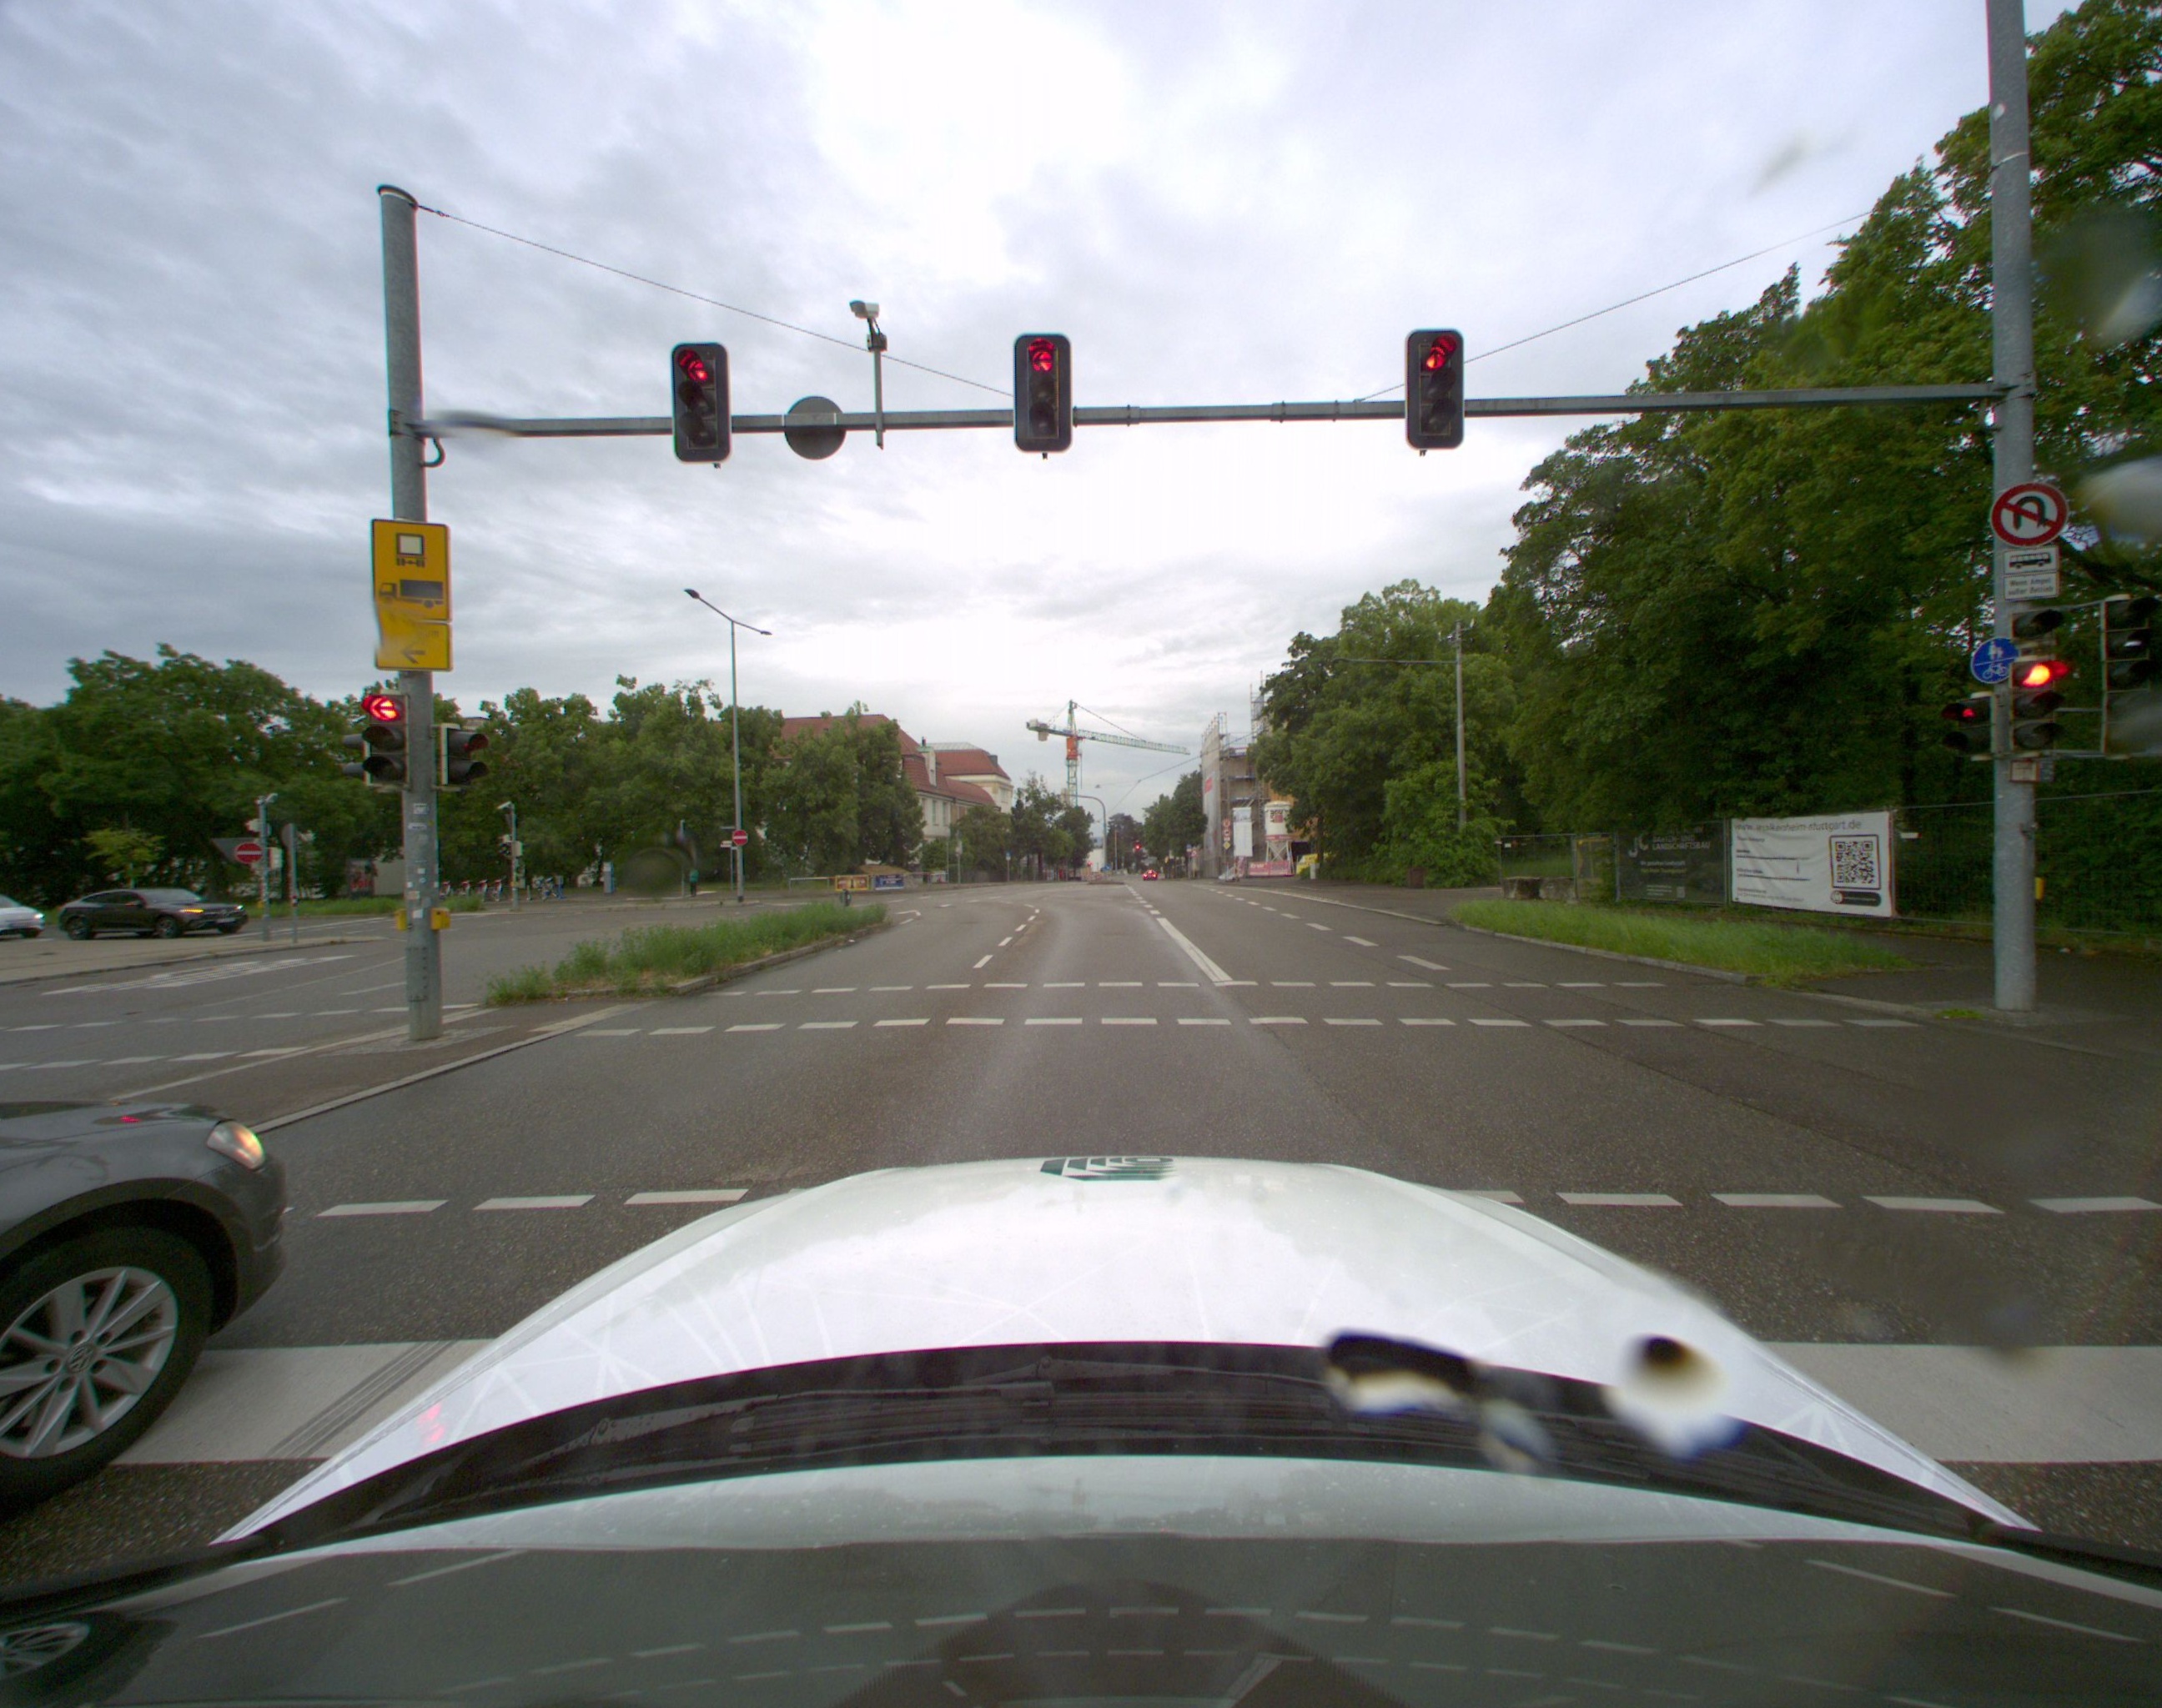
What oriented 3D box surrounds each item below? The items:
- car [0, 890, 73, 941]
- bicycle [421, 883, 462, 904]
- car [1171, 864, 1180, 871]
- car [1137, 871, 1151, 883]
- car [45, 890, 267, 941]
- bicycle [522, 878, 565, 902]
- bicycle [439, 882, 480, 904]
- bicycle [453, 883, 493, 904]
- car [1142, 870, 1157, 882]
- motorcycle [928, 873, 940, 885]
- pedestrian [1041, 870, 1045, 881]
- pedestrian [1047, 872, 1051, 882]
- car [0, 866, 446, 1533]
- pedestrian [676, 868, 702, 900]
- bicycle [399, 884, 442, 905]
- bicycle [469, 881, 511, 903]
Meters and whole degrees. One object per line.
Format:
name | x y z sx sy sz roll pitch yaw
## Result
car | -36.500 2.035 27.058 3.539 1.594 2.001 0 -1 1
bicycle | -34.991 2.140 44.588 0.649 1.071 1.982 0 -1 2
car | 25.482 3.503 218.953 1.980 1.750 4.014 -2 0 13
car | 10.200 3.661 131.293 1.986 1.750 4.001 -2 0 1
car | -30.079 1.984 26.593 5.006 1.500 2.001 0 -1 1
bicycle | -29.440 1.961 44.623 0.987 1.249 1.982 0 -1 2
bicycle | -33.912 2.113 44.457 0.649 1.071 1.982 0 -1 2
bicycle | -33.023 2.117 44.282 0.649 1.071 1.982 0 -1 2
car | 10.473 3.386 124.741 1.986 1.750 4.001 -2 0 1
motorcycle | -11.778 2.003 65.255 0.846 0.877 0.877 0 -1 1
pedestrian | -5.280 2.968 112.667 0.473 1.396 0.411 -2 -1 1
pedestrian | -4.471 3.225 112.600 0.473 1.396 0.411 -2 -1 1
car | -3.398 0.806 0.876 1.808 1.481 4.380 -2 0 3
pedestrian | -21.619 1.630 44.905 0.918 1.727 0.947 0 -1 5
bicycle | -35.968 2.176 44.373 0.649 1.071 1.982 0 -1 2
bicycle | -32.273 2.065 44.514 0.798 1.071 1.982 0 -1 2
